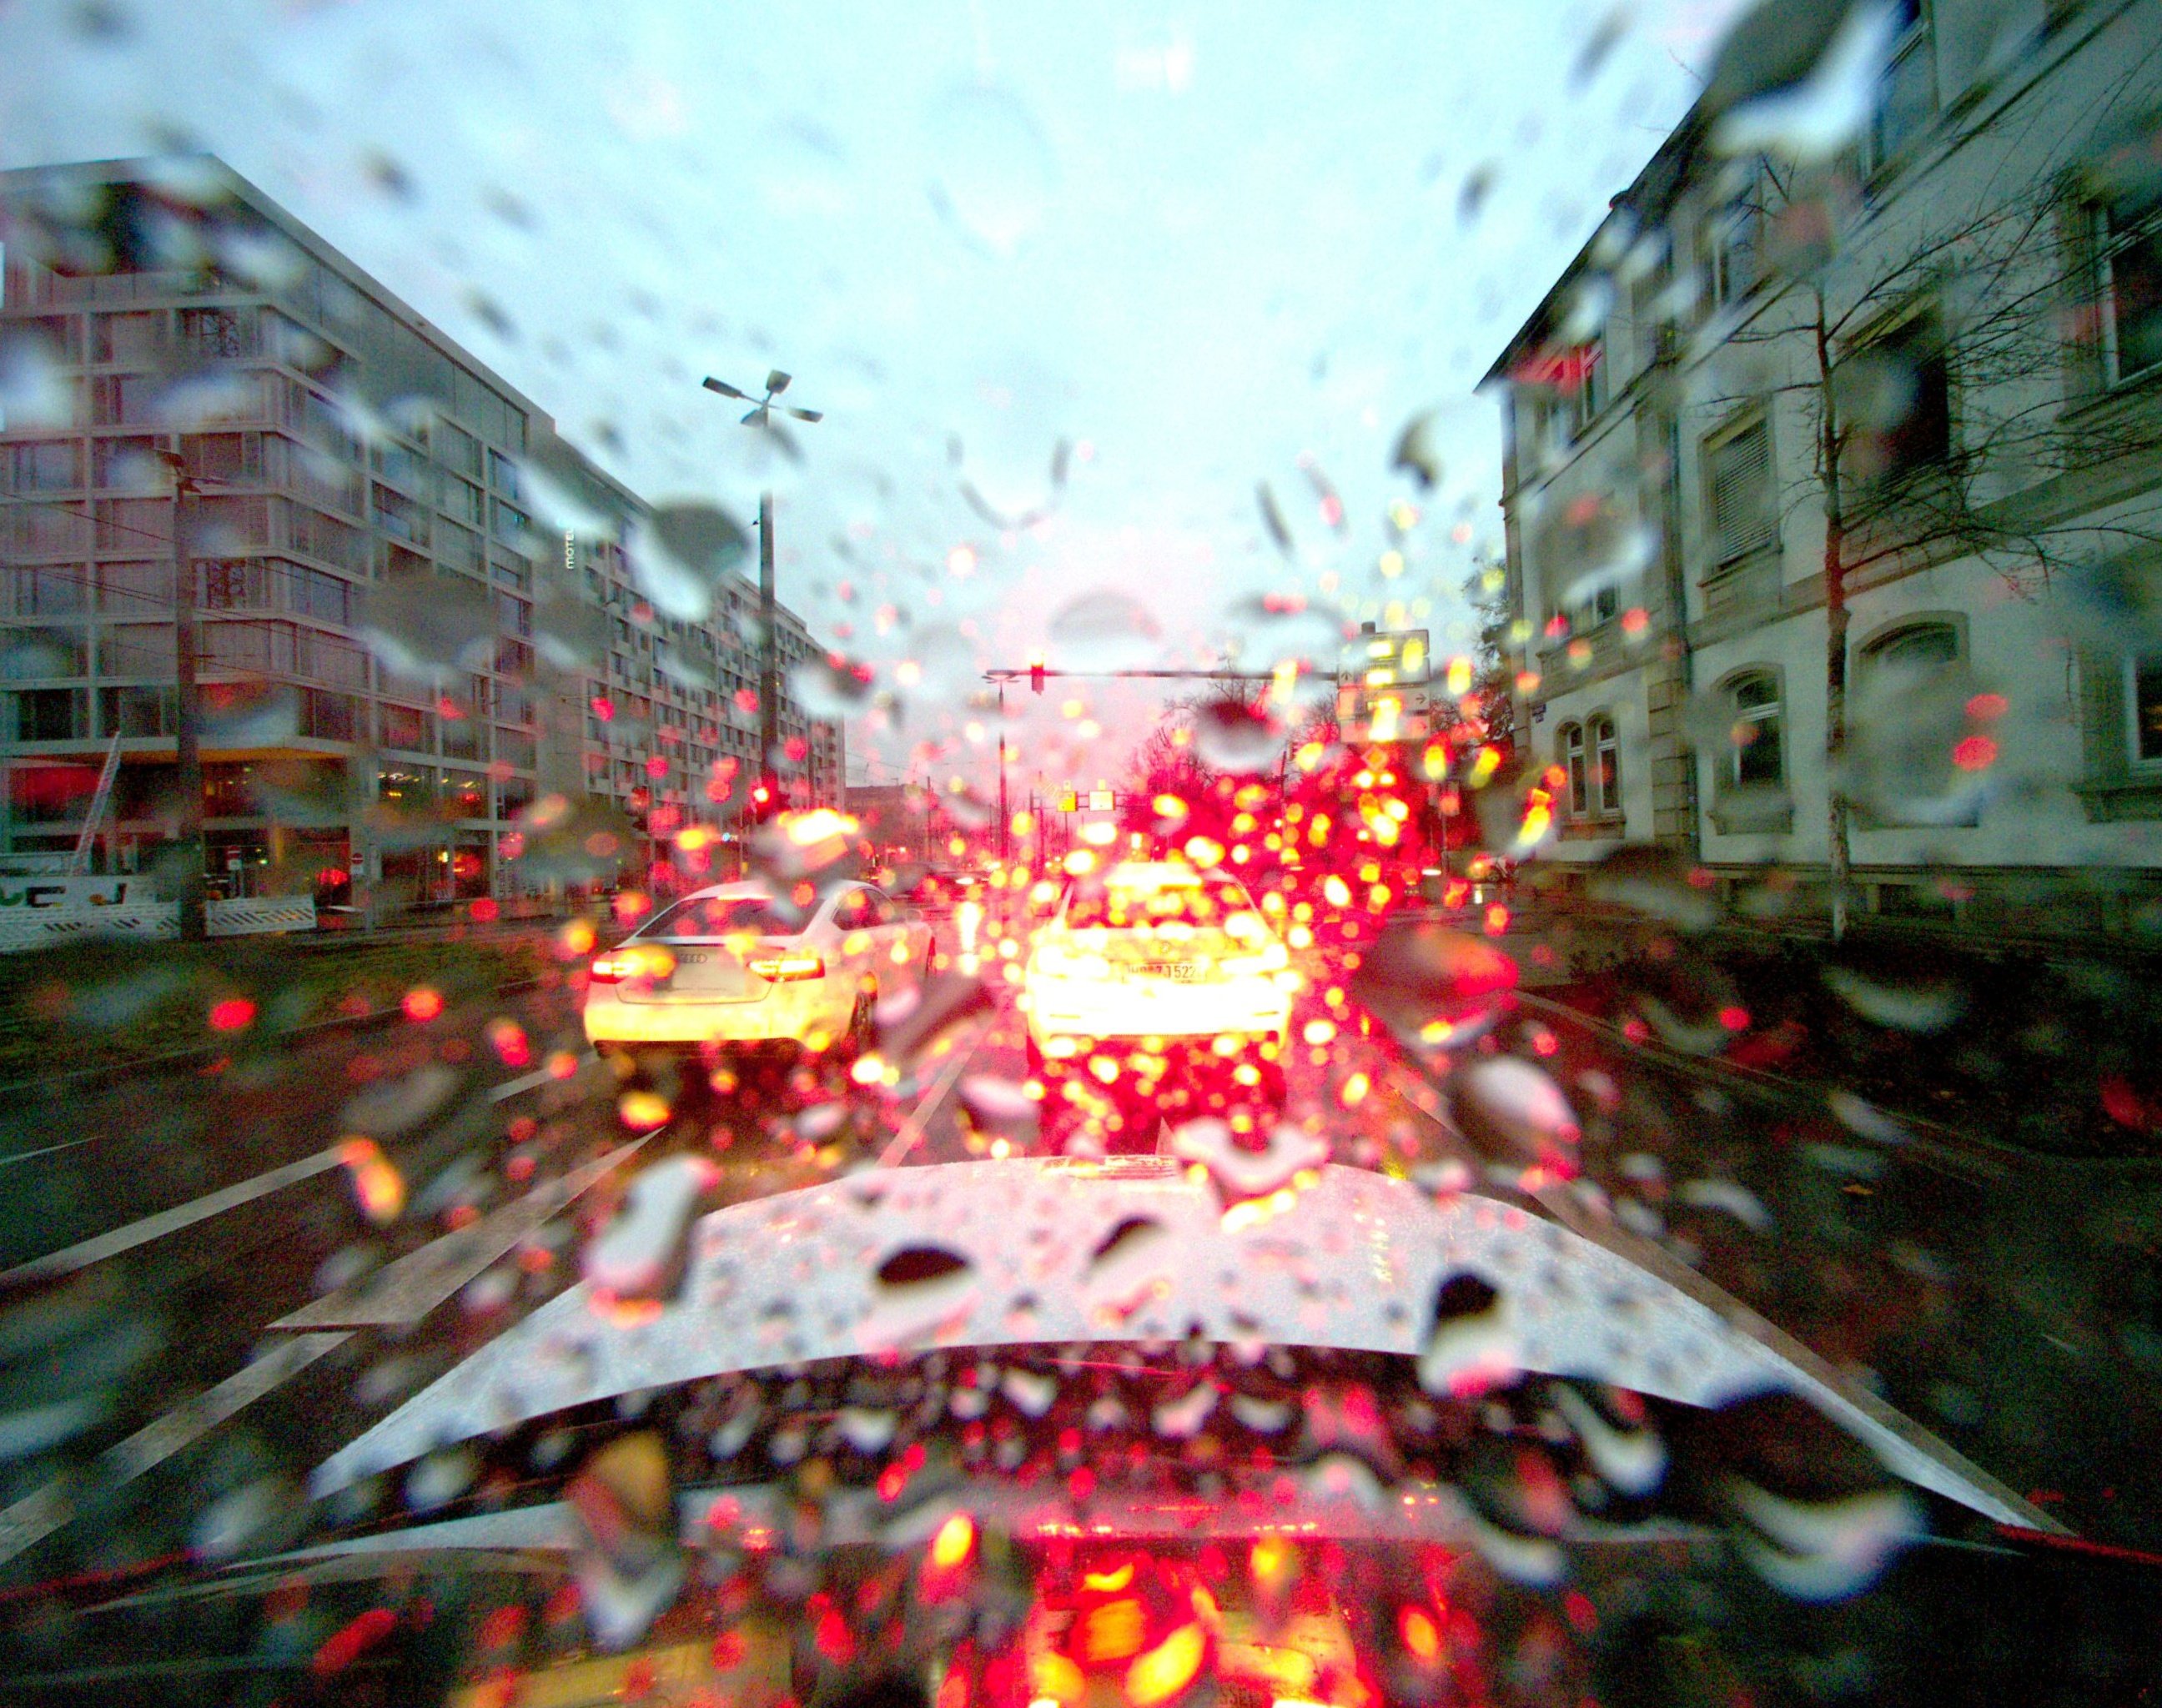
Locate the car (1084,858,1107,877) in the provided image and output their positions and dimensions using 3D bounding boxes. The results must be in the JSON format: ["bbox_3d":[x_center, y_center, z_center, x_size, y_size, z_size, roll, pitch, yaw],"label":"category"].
[{"bbox_3d":[1.233,1.158,69.097,1.836,1.609,3.945,0,-1,1],"label":"car"}]

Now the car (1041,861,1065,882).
[{"bbox_3d":[-2.182,1.357,63.238,1.839,1.609,3.940,0,-1,-3],"label":"car"}]

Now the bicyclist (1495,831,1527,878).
[{"bbox_3d":[16.327,0.015,30.951,0.964,1.759,0.817,0,-1,20],"label":"bicyclist"}]

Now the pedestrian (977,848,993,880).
[{"bbox_3d":[-5.532,0.586,47.001,0.901,1.856,0.811,0,-1,-5],"label":"pedestrian"}]

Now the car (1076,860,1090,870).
[{"bbox_3d":[0.327,1.645,124.261,1.987,1.456,4.367,-1,0,0],"label":"car"}]

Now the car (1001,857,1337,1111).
[{"bbox_3d":[0.528,0.784,7.051,1.987,1.456,4.367,-1,0,0],"label":"car"}]

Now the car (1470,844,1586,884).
[{"bbox_3d":[17.789,0.402,32.626,3.920,1.554,1.759,0,-1,23],"label":"car"}]

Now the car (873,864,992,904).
[{"bbox_3d":[-5.903,1.163,32.538,4.281,1.530,1.770,0,-1,14],"label":"car"}]

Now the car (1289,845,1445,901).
[{"bbox_3d":[9.329,0.642,26.714,4.656,1.720,1.911,-1,-1,20],"label":"car"}]

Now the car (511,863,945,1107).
[{"bbox_3d":[-2.594,0.853,7.345,1.987,1.456,4.367,-1,0,0],"label":"car"}]

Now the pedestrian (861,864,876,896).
[{"bbox_3d":[-11.715,1.423,44.898,0.791,1.712,0.809,0,-1,-13],"label":"pedestrian"}]

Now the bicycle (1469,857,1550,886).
[{"bbox_3d":[16.241,0.665,30.966,2.644,1.089,0.819,0,-1,20],"label":"bicycle"}]
